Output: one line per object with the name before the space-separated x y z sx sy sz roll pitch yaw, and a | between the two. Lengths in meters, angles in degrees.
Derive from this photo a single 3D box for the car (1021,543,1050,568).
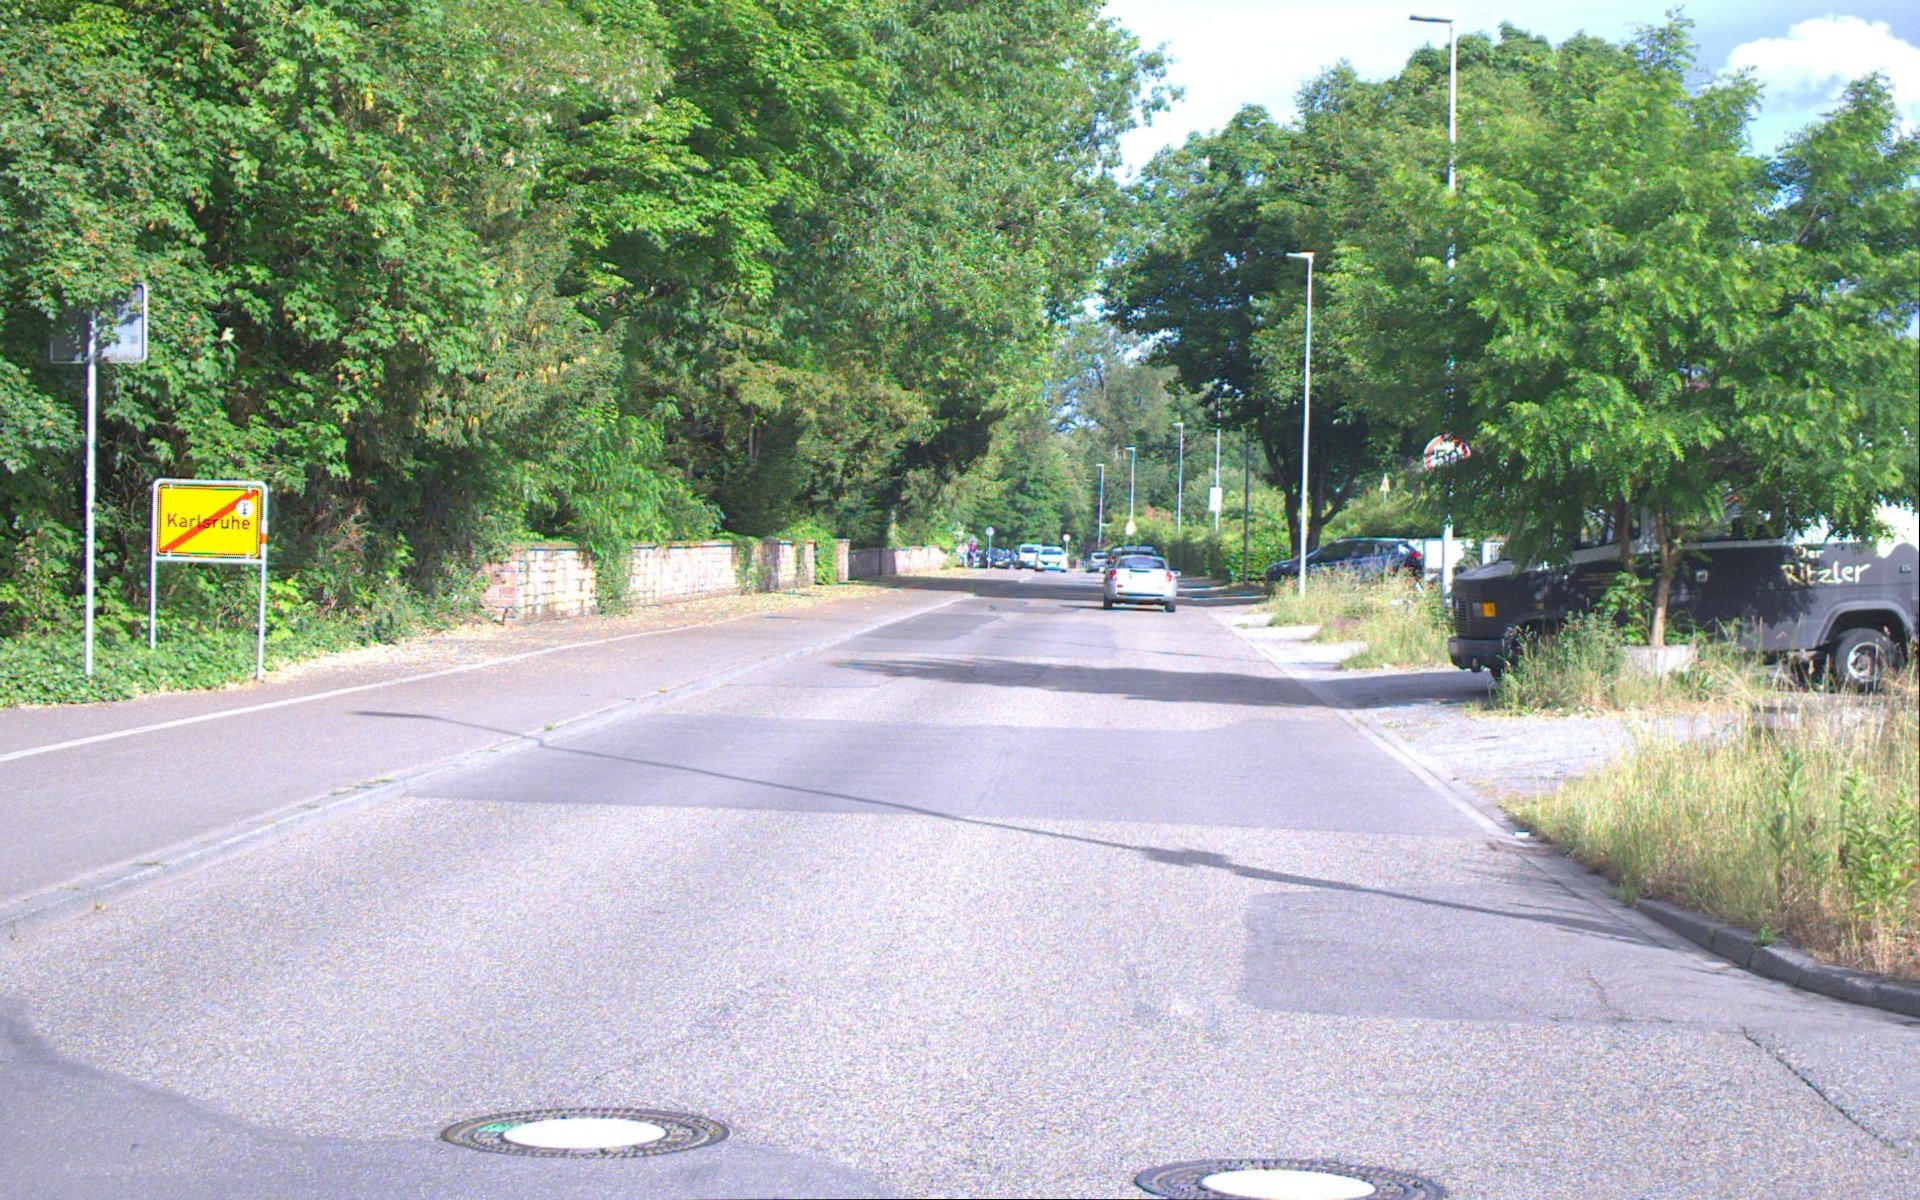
car | 5.027 -2.967 228.300 1.886 1.607 4.054 1 2 2

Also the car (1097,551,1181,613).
car | 4.235 -0.448 81.773 1.886 1.367 4.054 1 2 2

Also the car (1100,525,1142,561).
car | 7.586 -2.689 161.990 1.886 1.607 4.054 1 2 2

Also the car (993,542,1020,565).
car | 3.467 -3.459 255.223 1.886 1.607 4.054 1 2 2

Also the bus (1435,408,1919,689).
bus | 7.644 -0.548 34.892 5.365 2.737 2.069 0 2 0

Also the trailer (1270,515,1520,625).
trailer | 7.383 -0.522 58.431 4.153 1.828 1.916 0 1 7

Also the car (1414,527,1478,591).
car | 13.387 -1.145 94.526 1.351 1.627 4.109 -1 2 13

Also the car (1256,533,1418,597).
car | 10.577 -1.001 96.616 4.404 1.641 2.000 -2 1 4

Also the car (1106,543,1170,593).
car | 5.518 -1.000 106.812 1.886 1.460 4.054 1 2 2

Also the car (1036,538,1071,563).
car | 5.358 -2.874 197.693 1.886 1.367 4.055 1 2 0
